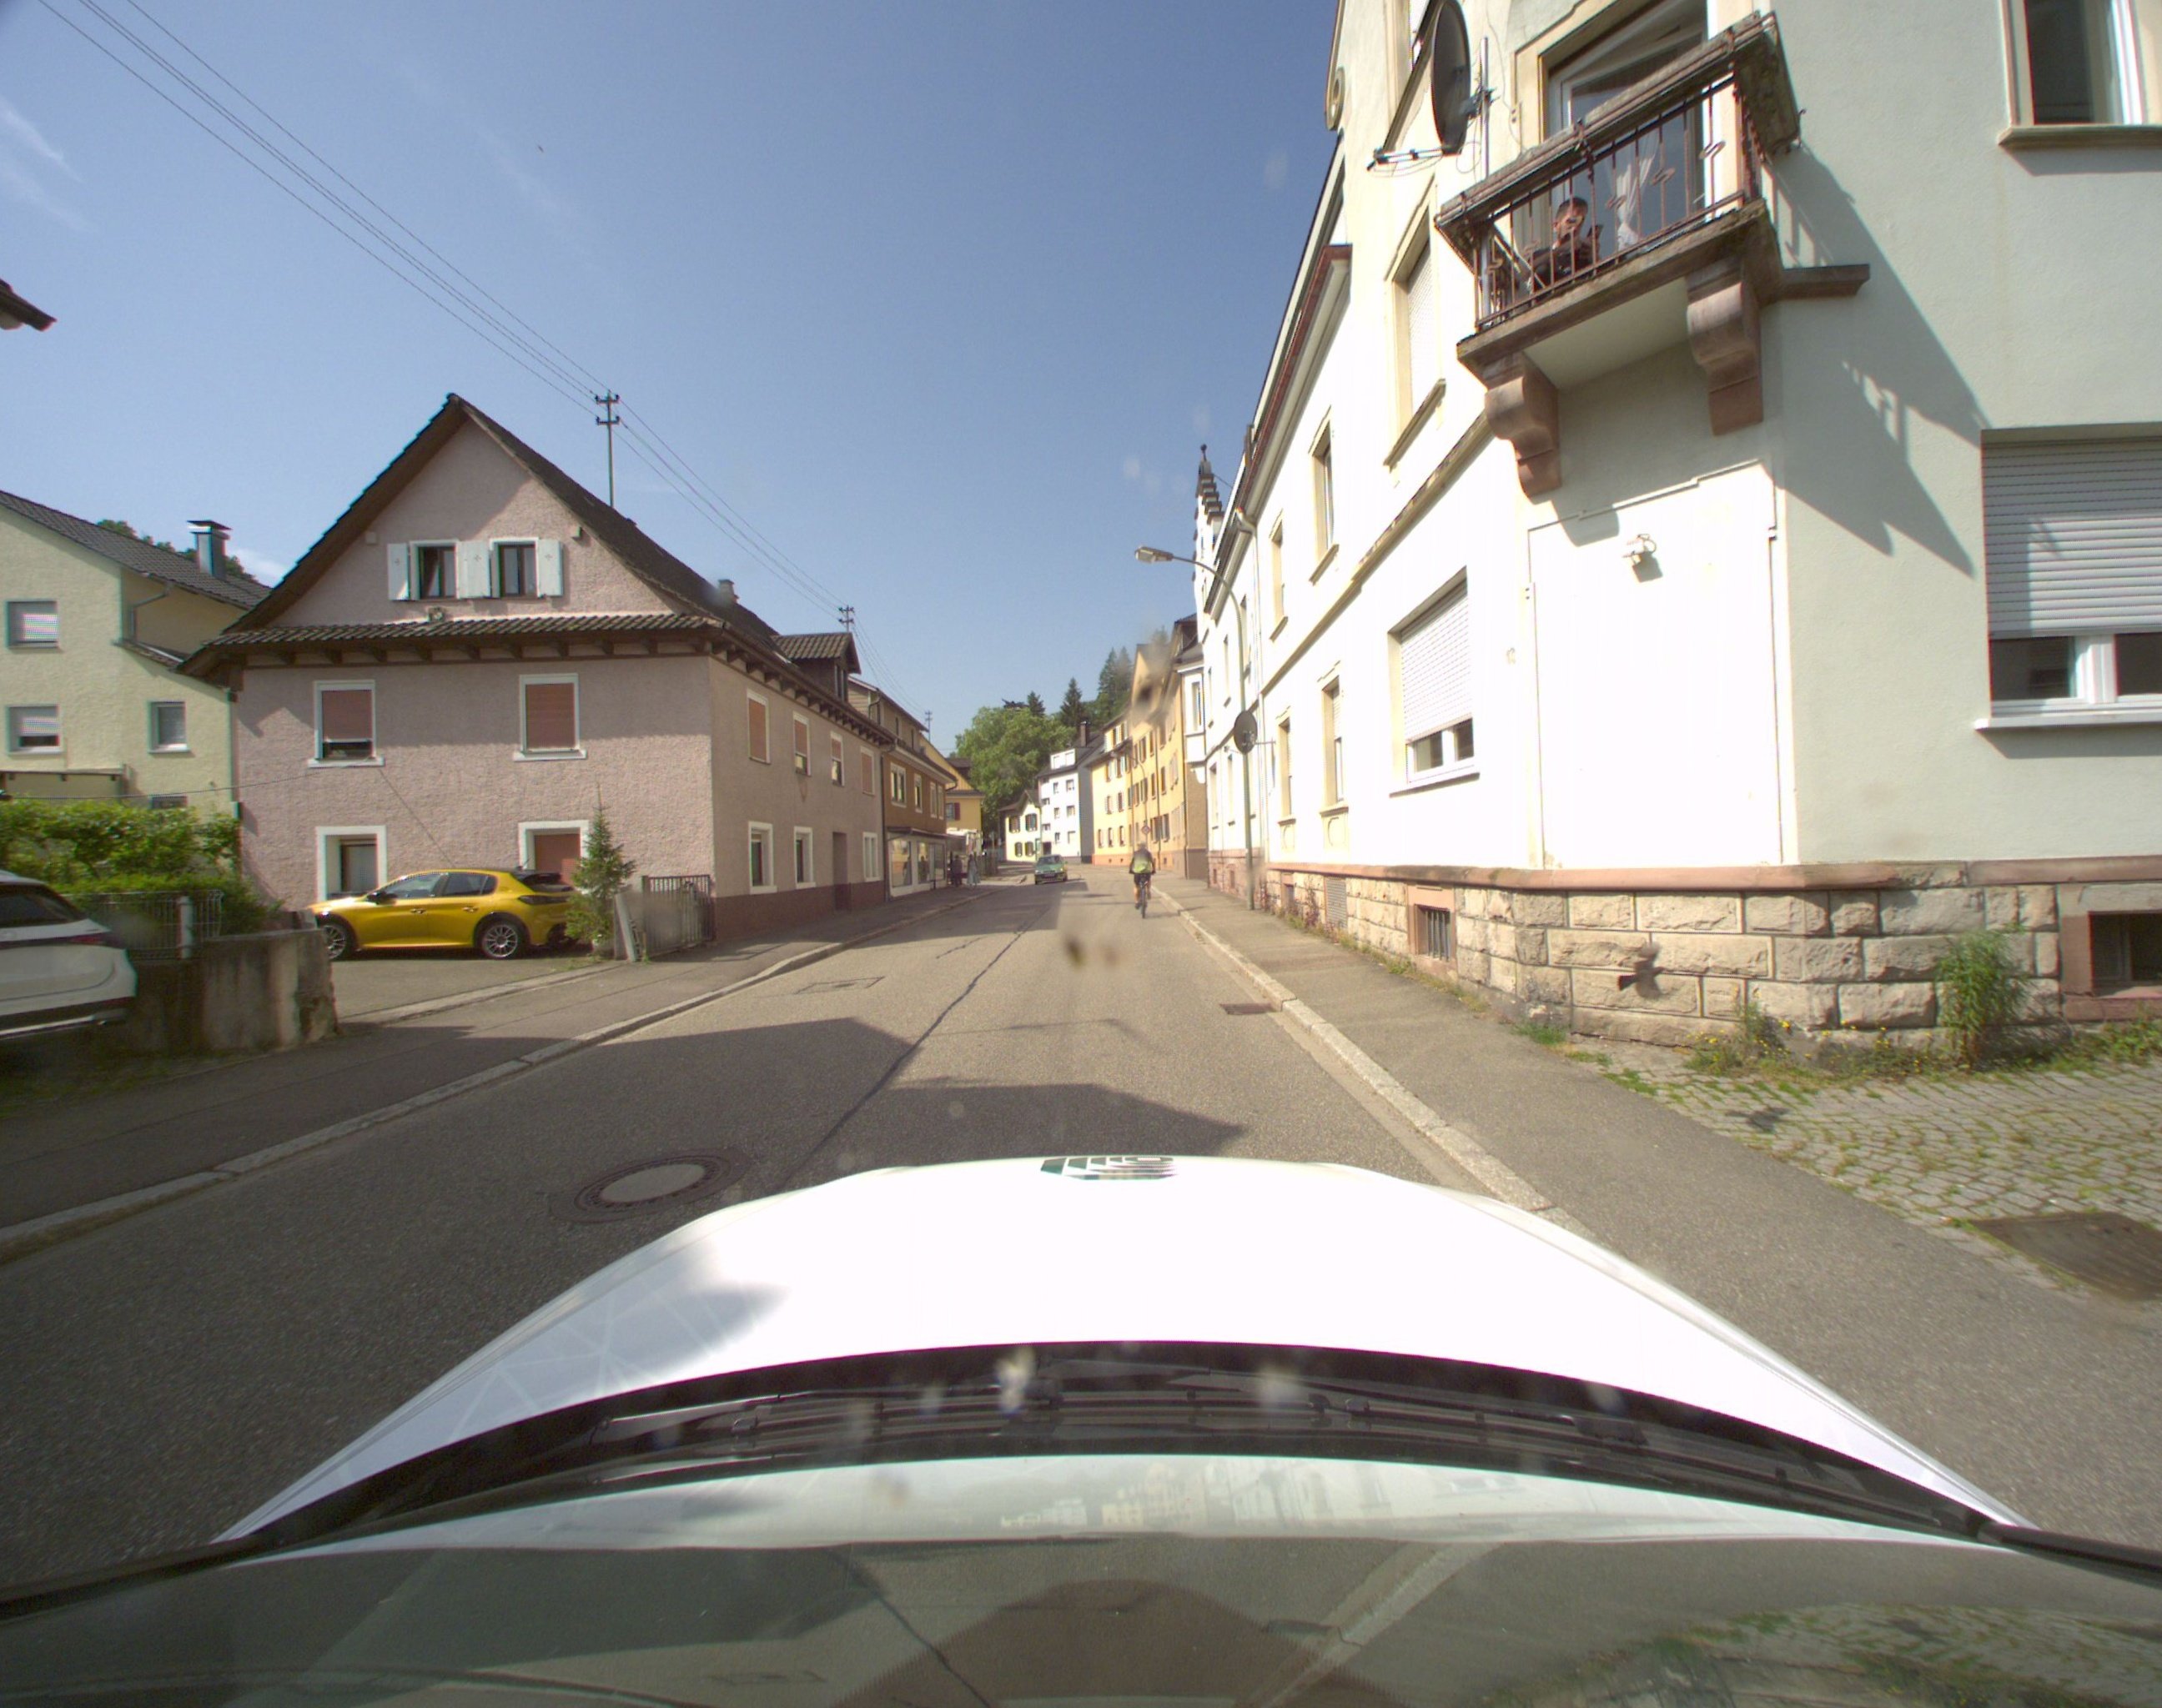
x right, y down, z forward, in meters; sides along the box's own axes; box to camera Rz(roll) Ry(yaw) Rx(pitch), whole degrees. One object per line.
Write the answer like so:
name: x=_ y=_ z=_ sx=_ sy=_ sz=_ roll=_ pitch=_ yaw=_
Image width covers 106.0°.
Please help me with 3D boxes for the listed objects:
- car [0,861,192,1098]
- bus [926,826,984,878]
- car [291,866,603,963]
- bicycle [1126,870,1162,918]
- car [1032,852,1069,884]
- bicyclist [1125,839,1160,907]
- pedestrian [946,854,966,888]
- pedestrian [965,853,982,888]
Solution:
car: x=-9.332 y=0.886 z=5.709 sx=3.976 sy=1.594 sz=1.906 roll=-1 pitch=0 yaw=-2
bus: x=-8.370 y=-0.135 z=55.199 sx=2.813 sy=3.228 sz=9.029 roll=0 pitch=0 yaw=-2
car: x=-10.264 y=0.945 z=13.413 sx=3.741 sy=1.392 sz=1.644 roll=-1 pitch=1 yaw=-3
bicycle: x=1.458 y=0.909 z=19.099 sx=0.696 sy=1.035 sz=1.471 roll=-1 pitch=0 yaw=0
car: x=-1.546 y=0.693 z=42.837 sx=1.591 sy=1.464 sz=3.661 roll=-5 pitch=0 yaw=2
bicyclist: x=1.436 y=0.447 z=19.092 sx=0.683 sy=1.531 sz=0.715 roll=-3 pitch=0 yaw=-1
pedestrian: x=-5.810 y=0.789 z=37.965 sx=0.732 sy=1.564 sz=0.825 roll=1 pitch=0 yaw=1
pedestrian: x=-4.977 y=0.759 z=37.799 sx=0.637 sy=1.626 sz=0.777 roll=1 pitch=0 yaw=1
